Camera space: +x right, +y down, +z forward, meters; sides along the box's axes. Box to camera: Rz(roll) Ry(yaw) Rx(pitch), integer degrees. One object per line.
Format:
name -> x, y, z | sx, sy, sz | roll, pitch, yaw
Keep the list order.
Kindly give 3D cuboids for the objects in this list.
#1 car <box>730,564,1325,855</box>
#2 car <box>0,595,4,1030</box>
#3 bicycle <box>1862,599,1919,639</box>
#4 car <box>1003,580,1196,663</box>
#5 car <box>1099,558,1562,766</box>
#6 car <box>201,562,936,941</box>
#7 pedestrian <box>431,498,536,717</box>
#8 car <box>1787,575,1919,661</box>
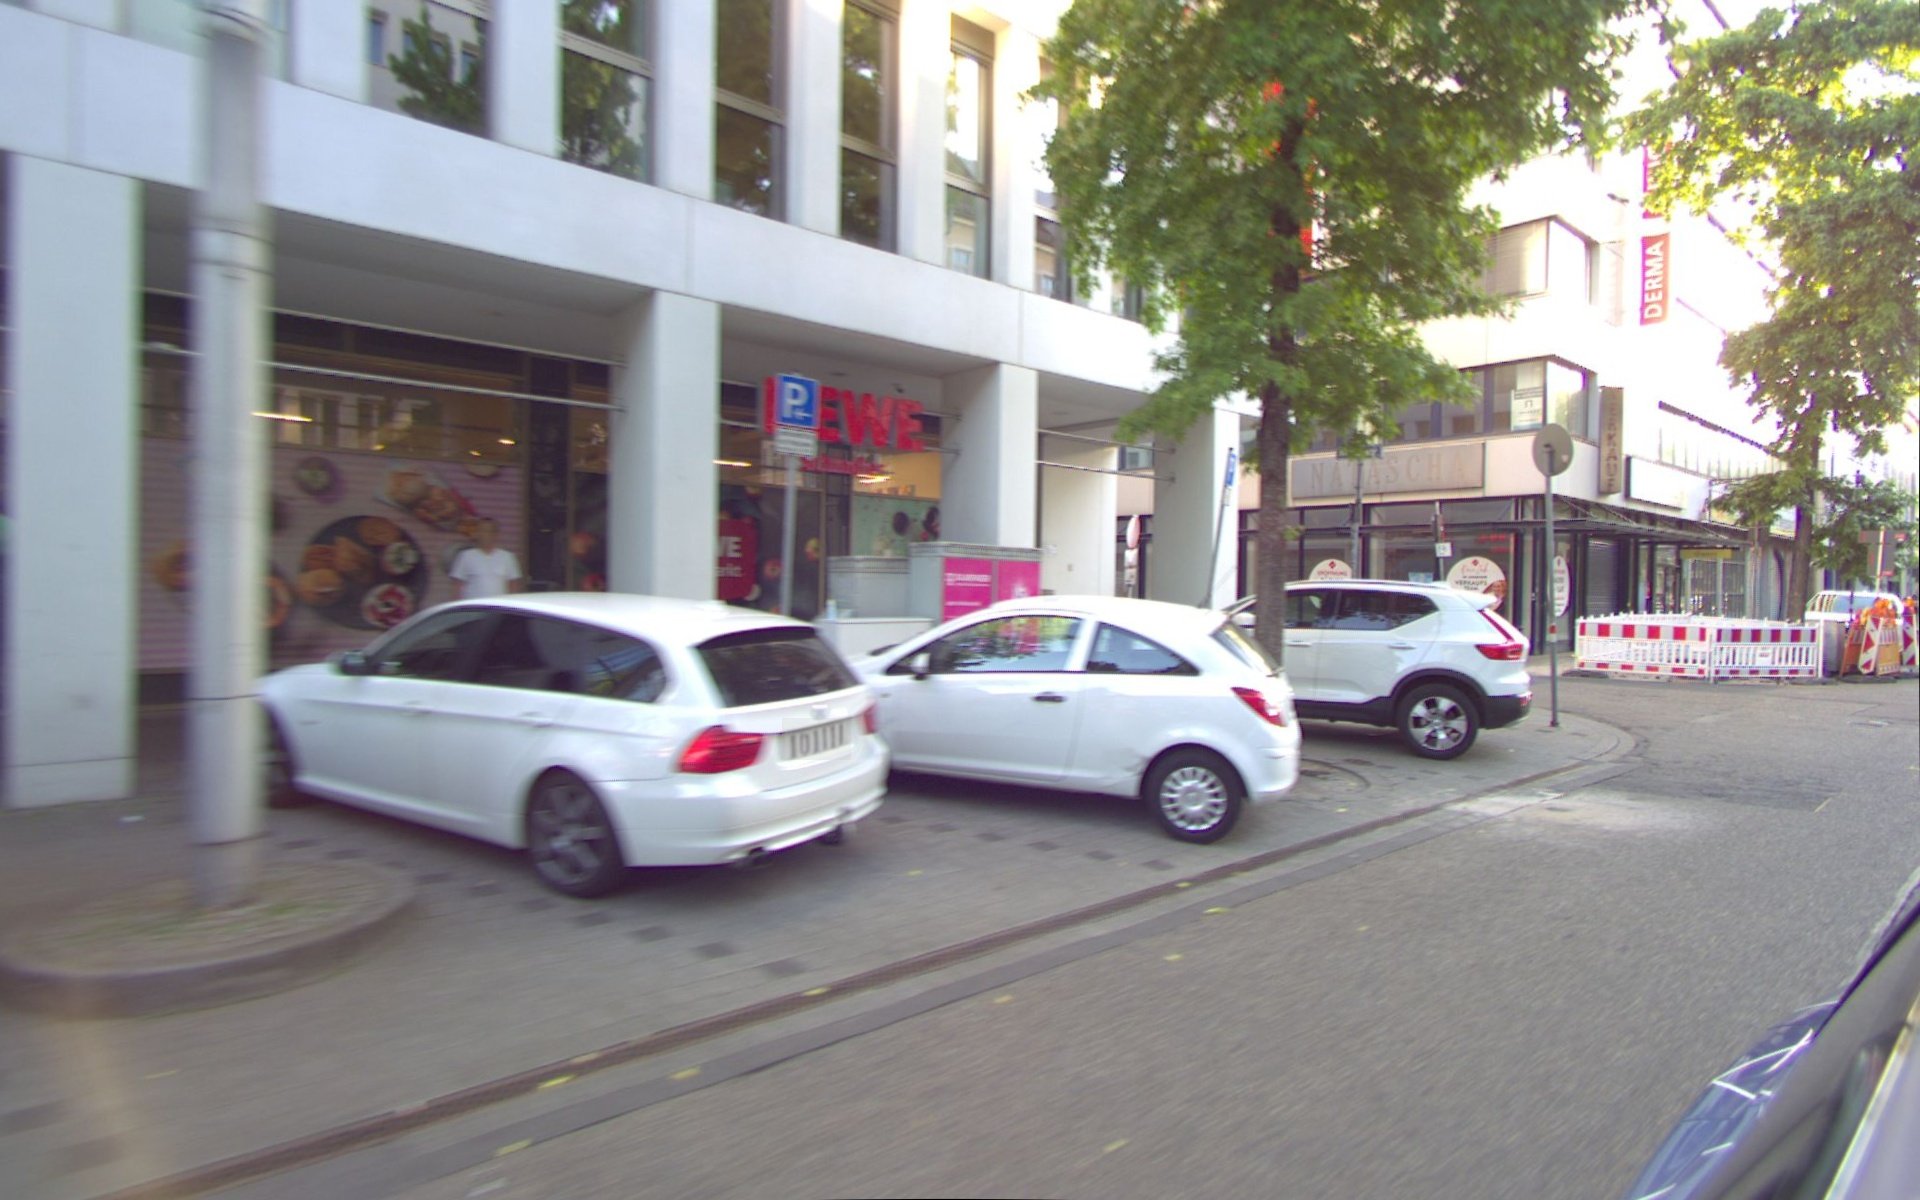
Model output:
car -> 0.522, 0.589, 7.478 | 4.020, 1.519, 1.784 | 3, 3, 21
car -> -5.479, 0.600, 3.510 | 4.312, 1.440, 1.936 | 4, 3, 29
bicycle -> 30.221, 0.621, 32.162 | 0.746, 1.172, 2.168 | -1, 4, -34
car -> 3.007, 0.385, 22.495 | 1.869, 1.632, 4.149 | -1, 2, -38
car -> 3.824, 0.481, 10.825 | 4.230, 1.692, 1.936 | 4, 4, 26
car -> -2.472, 0.591, 6.158 | 4.311, 1.440, 1.811 | 4, 3, 28
pedestrian -> -4.430, 0.069, 9.406 | 0.669, 1.920, 0.805 | 2, -1, -39
car -> 21.726, 0.389, 24.230 | 4.585, 1.792, 1.999 | 0, 3, -38
